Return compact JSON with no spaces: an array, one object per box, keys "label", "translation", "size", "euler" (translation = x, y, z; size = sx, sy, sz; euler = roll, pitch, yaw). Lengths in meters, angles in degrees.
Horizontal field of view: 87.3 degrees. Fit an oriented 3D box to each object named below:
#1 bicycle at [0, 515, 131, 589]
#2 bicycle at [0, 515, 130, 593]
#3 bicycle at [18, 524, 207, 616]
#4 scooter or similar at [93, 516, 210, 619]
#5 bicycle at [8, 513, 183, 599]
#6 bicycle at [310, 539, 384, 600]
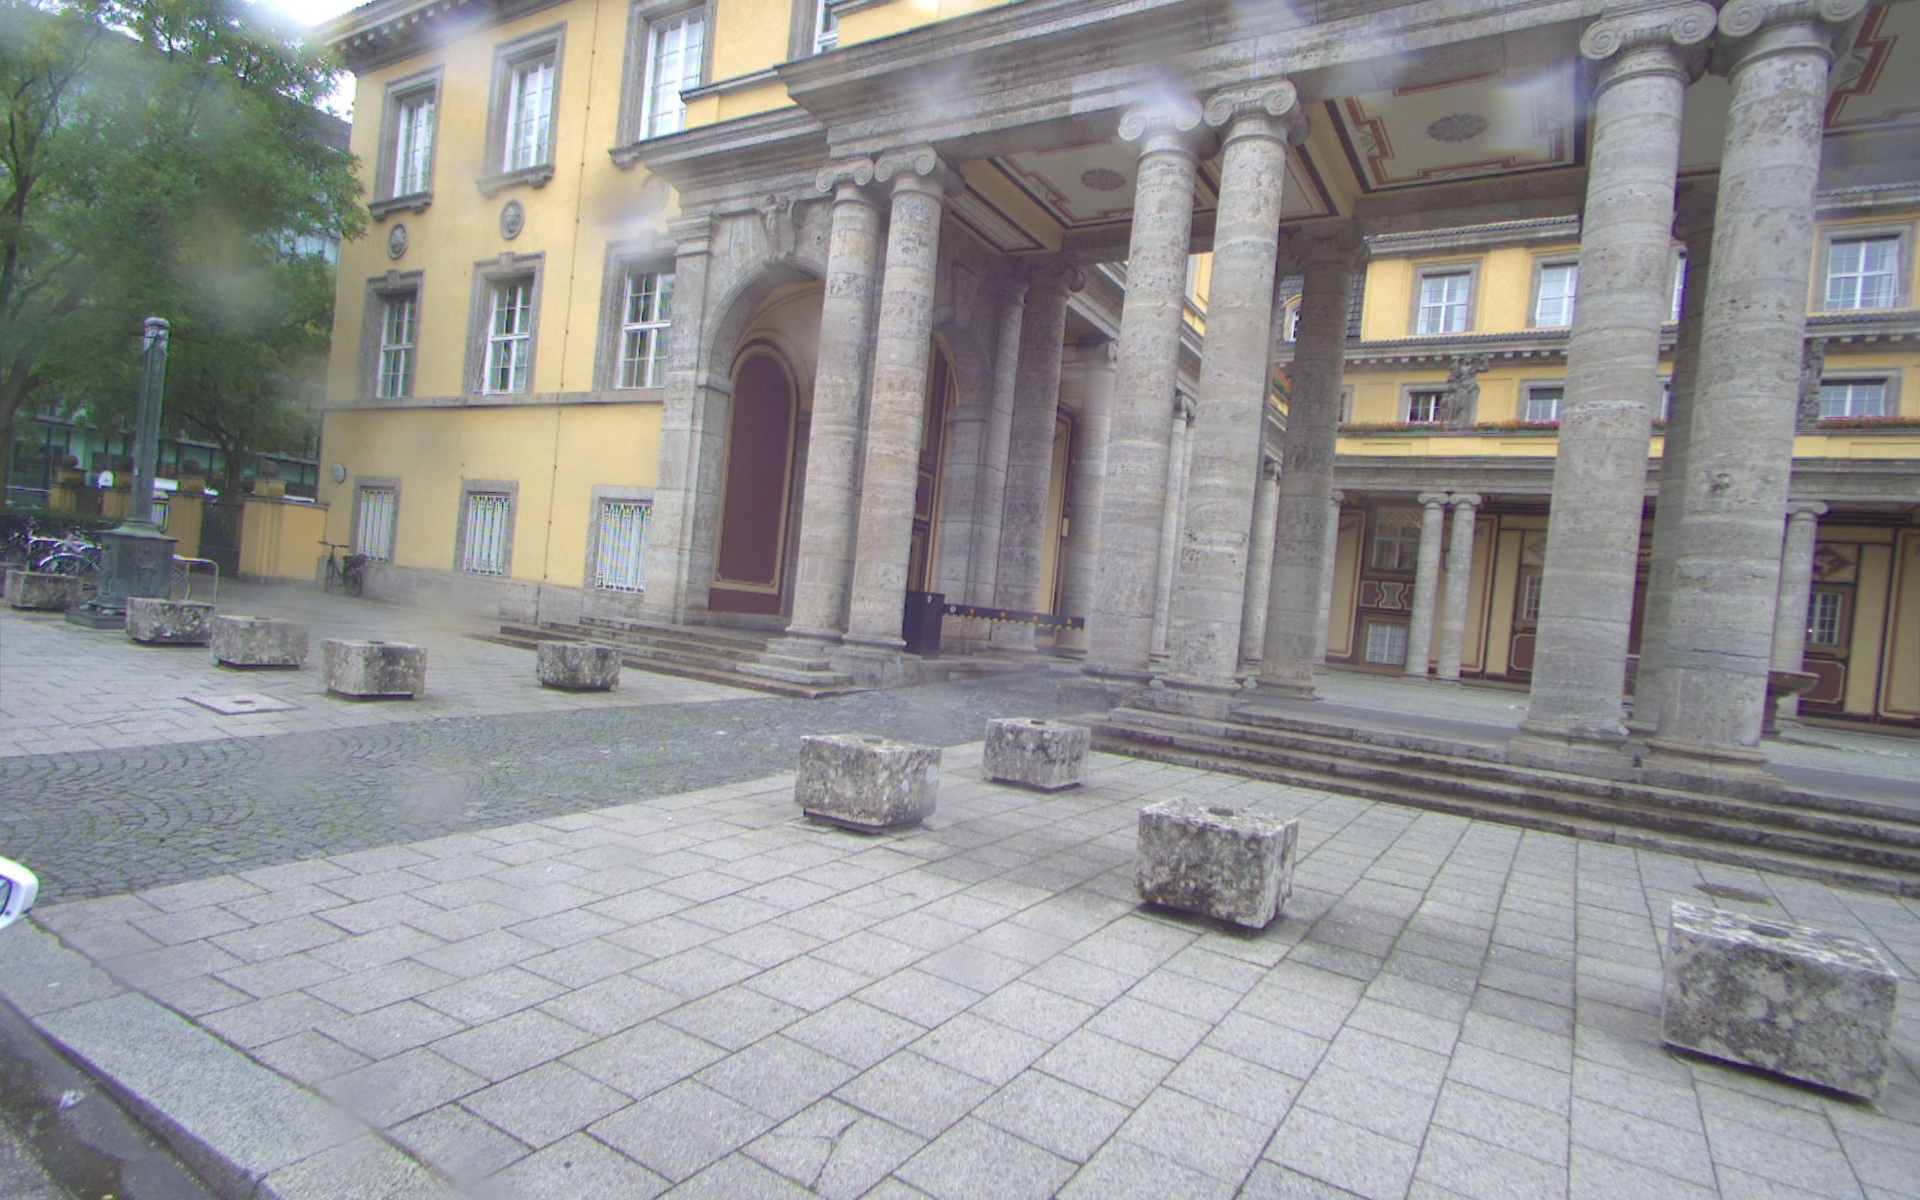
[{"label":"bicycle","translation":[-15.538,-0.815,17.259],"size":[0.464,1.128,1.932],"euler":[7,1,33]},{"label":"bicycle","translation":[-15.025,-0.756,16.617],"size":[0.464,1.128,1.931],"euler":[7,1,34]},{"label":"bicycle","translation":[-11.732,-0.381,14.006],"size":[0.463,1.128,1.934],"euler":[6,1,29]},{"label":"scooter or similar","translation":[-10.666,-0.420,13.296],"size":[0.996,1.238,0.536],"euler":[5,2,-13]},{"label":"bicycle","translation":[-13.143,-0.637,15.358],"size":[0.464,1.128,1.931],"euler":[7,1,34]},{"label":"bicycle","translation":[-13.730,-0.699,22.505],"size":[1.870,1.169,0.542],"euler":[7,2,31]}]
